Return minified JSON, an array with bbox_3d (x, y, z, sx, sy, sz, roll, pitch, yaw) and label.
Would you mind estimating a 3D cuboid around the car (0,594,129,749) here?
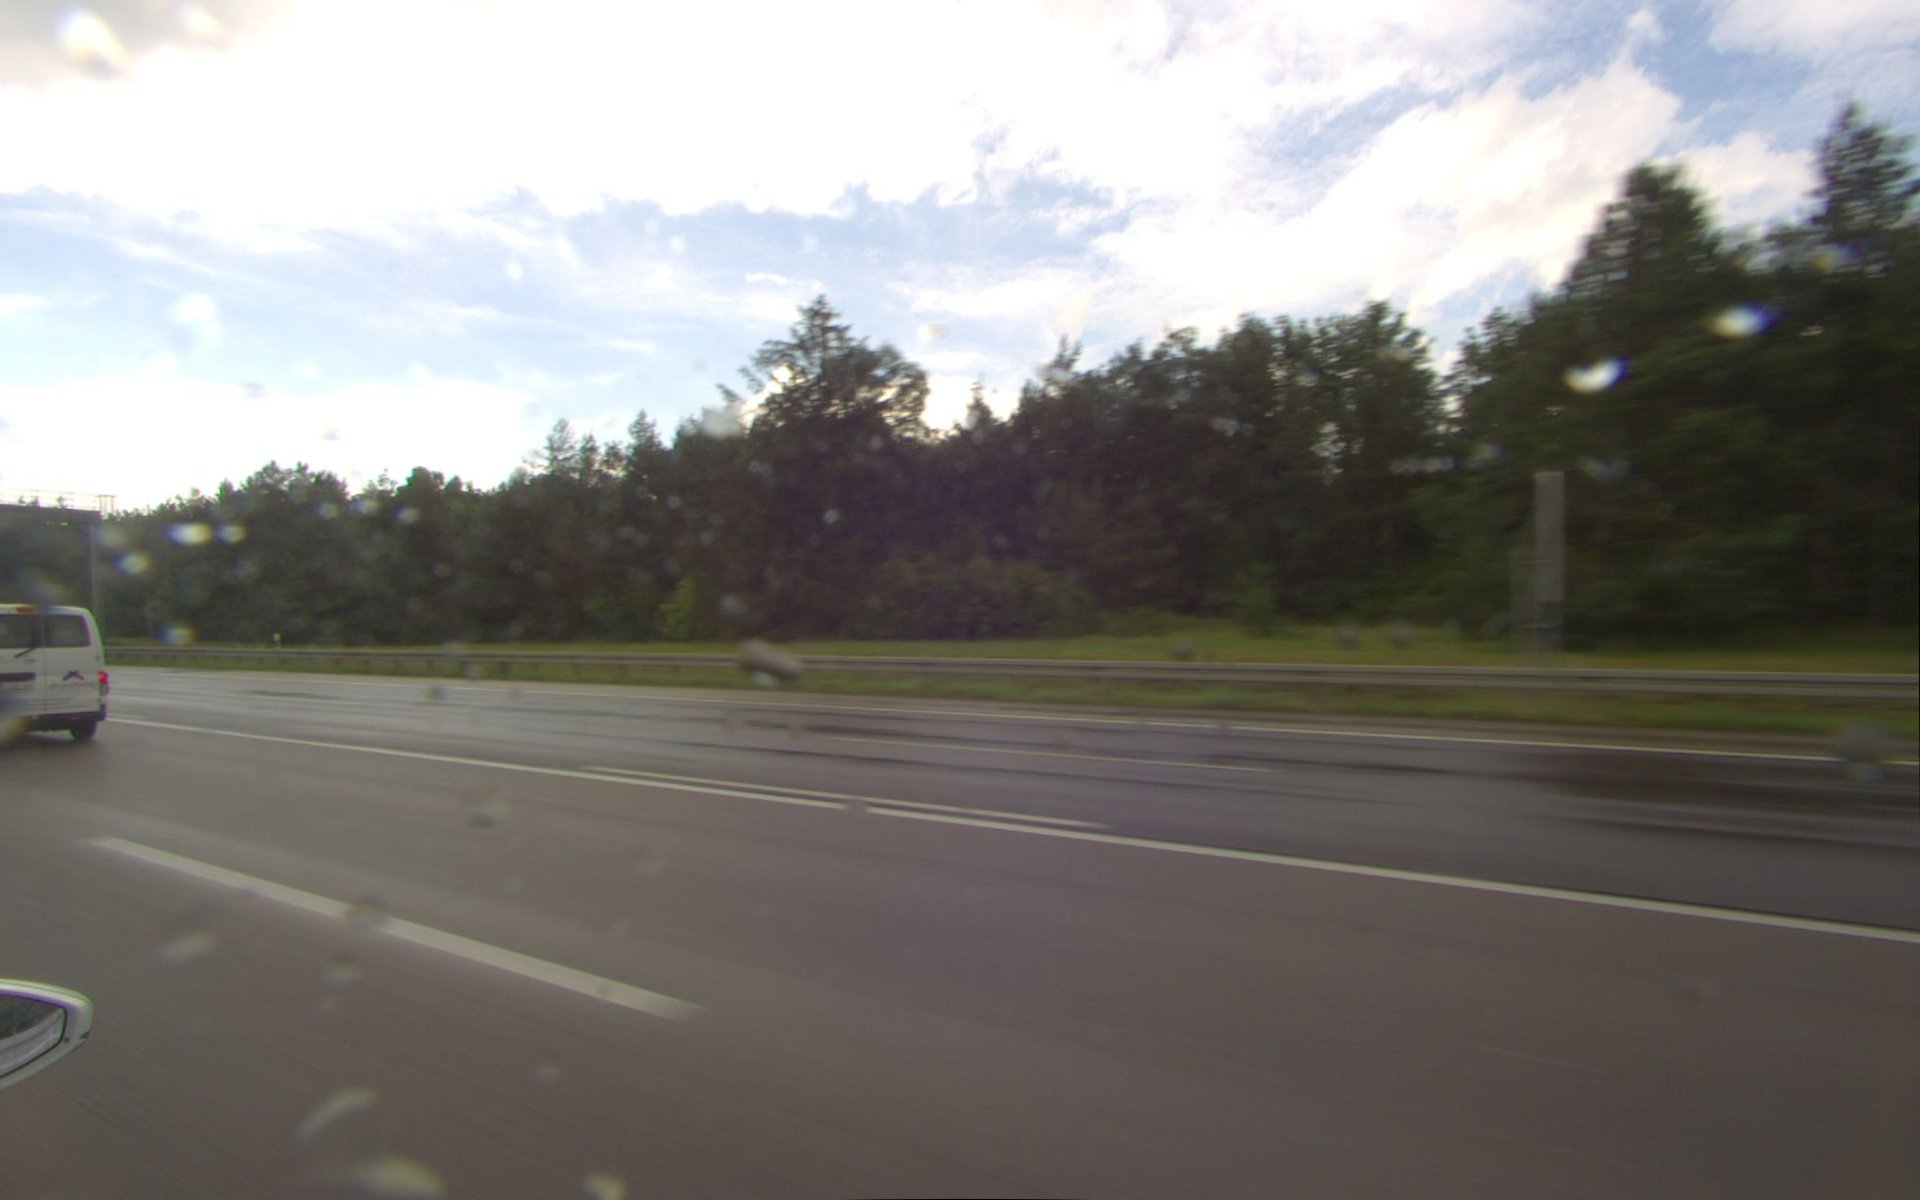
[{"bbox_3d":[-13.677,0.940,14.025,4.816,1.926,1.958,-1,-1,35],"label":"car"}]
